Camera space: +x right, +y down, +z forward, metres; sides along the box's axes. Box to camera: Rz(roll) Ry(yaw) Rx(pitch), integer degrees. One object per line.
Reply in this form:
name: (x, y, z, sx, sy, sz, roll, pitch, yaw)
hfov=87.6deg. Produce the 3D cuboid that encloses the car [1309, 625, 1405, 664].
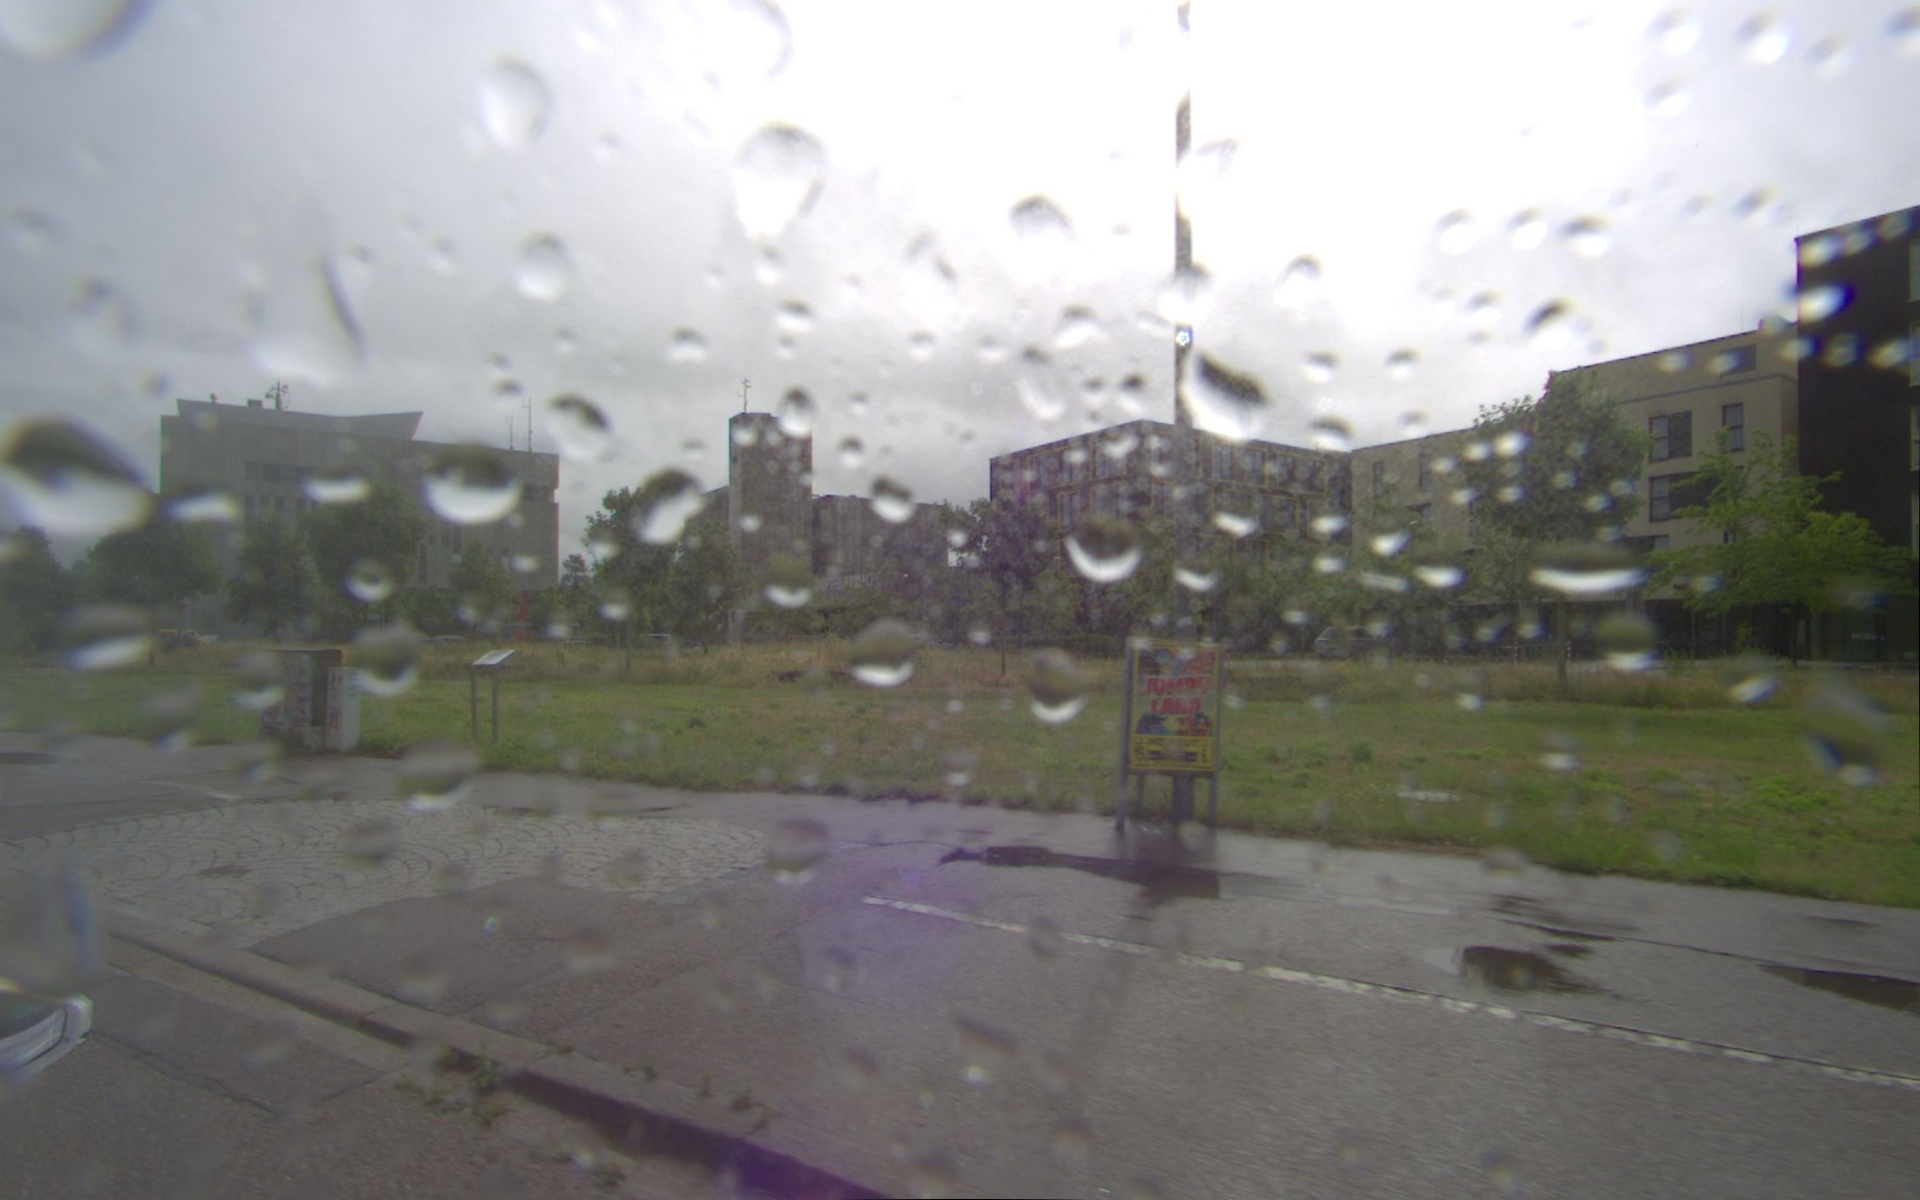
car: (17.120, 1.890, 43.150, 4.160, 1.577, 1.658, 0, -2, -32)

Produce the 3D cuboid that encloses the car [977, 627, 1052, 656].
car: (3.471, 2.639, 63.807, 4.495, 1.784, 1.989, 1, -2, -32)

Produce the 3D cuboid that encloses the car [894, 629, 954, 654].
car: (-2.598, 3.002, 72.366, 3.944, 1.742, 1.760, 1, -2, -31)
